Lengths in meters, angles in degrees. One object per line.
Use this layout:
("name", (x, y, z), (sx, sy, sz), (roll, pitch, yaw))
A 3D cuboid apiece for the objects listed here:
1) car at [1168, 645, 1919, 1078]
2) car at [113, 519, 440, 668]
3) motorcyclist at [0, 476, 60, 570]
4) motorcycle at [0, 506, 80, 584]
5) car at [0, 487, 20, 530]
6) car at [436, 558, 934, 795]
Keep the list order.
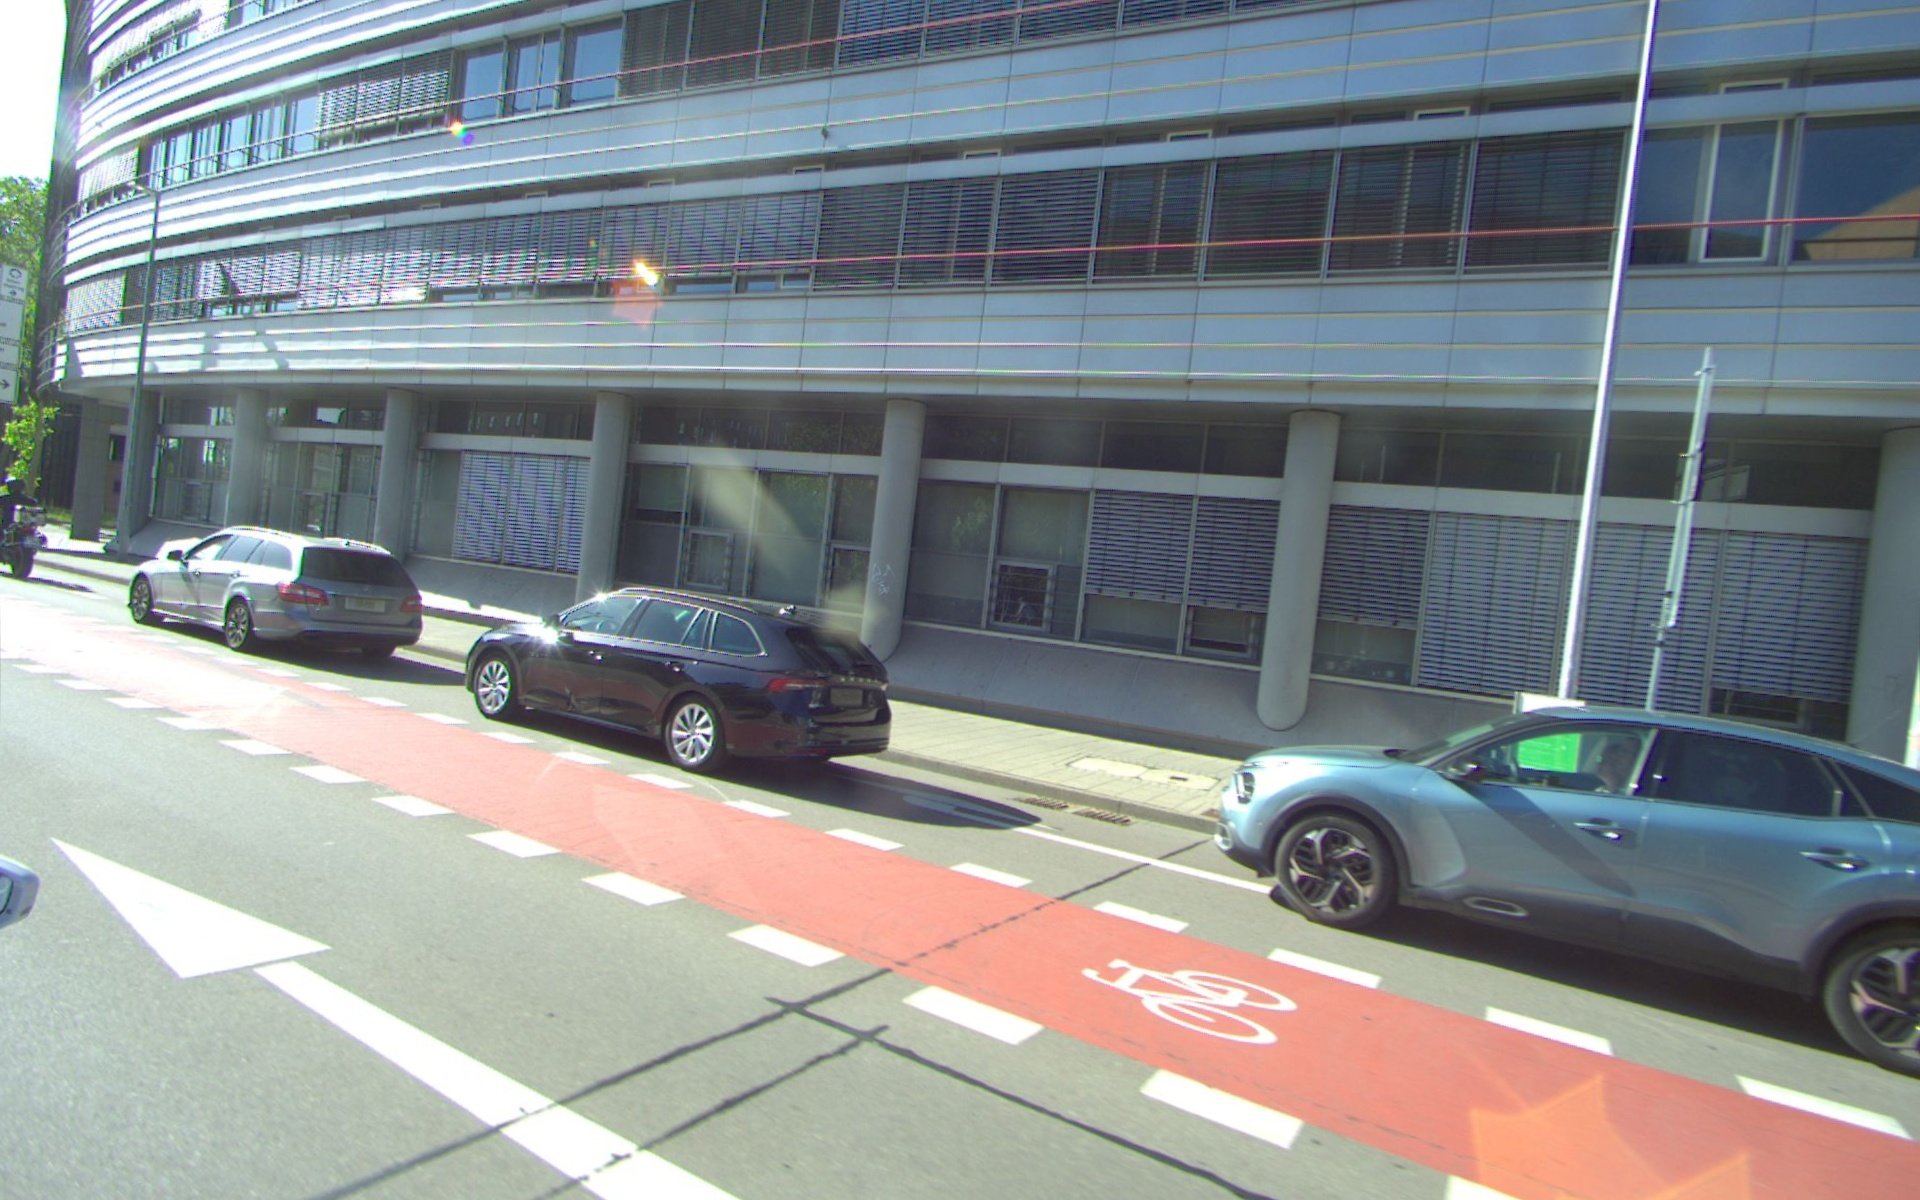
("car", (3.684, 1.330, 6.027), (4.325, 1.543, 1.724), (7, 0, 31))
("car", (-9.211, -0.127, 13.438), (4.708, 1.413, 1.724), (7, 0, 31))
("motorcyclist", (-17.252, -1.421, 18.385), (0.926, 1.579, 0.830), (6, -1, 30))
("motorcycle", (-17.049, -1.039, 18.259), (2.350, 1.215, 0.830), (6, -1, 30))
("car", (-39.363, -3.909, 38.808), (1.876, 1.601, 4.004), (9, -1, 17))
("car", (-2.698, 0.583, 9.513), (4.558, 1.440, 1.724), (7, 1, 30))
